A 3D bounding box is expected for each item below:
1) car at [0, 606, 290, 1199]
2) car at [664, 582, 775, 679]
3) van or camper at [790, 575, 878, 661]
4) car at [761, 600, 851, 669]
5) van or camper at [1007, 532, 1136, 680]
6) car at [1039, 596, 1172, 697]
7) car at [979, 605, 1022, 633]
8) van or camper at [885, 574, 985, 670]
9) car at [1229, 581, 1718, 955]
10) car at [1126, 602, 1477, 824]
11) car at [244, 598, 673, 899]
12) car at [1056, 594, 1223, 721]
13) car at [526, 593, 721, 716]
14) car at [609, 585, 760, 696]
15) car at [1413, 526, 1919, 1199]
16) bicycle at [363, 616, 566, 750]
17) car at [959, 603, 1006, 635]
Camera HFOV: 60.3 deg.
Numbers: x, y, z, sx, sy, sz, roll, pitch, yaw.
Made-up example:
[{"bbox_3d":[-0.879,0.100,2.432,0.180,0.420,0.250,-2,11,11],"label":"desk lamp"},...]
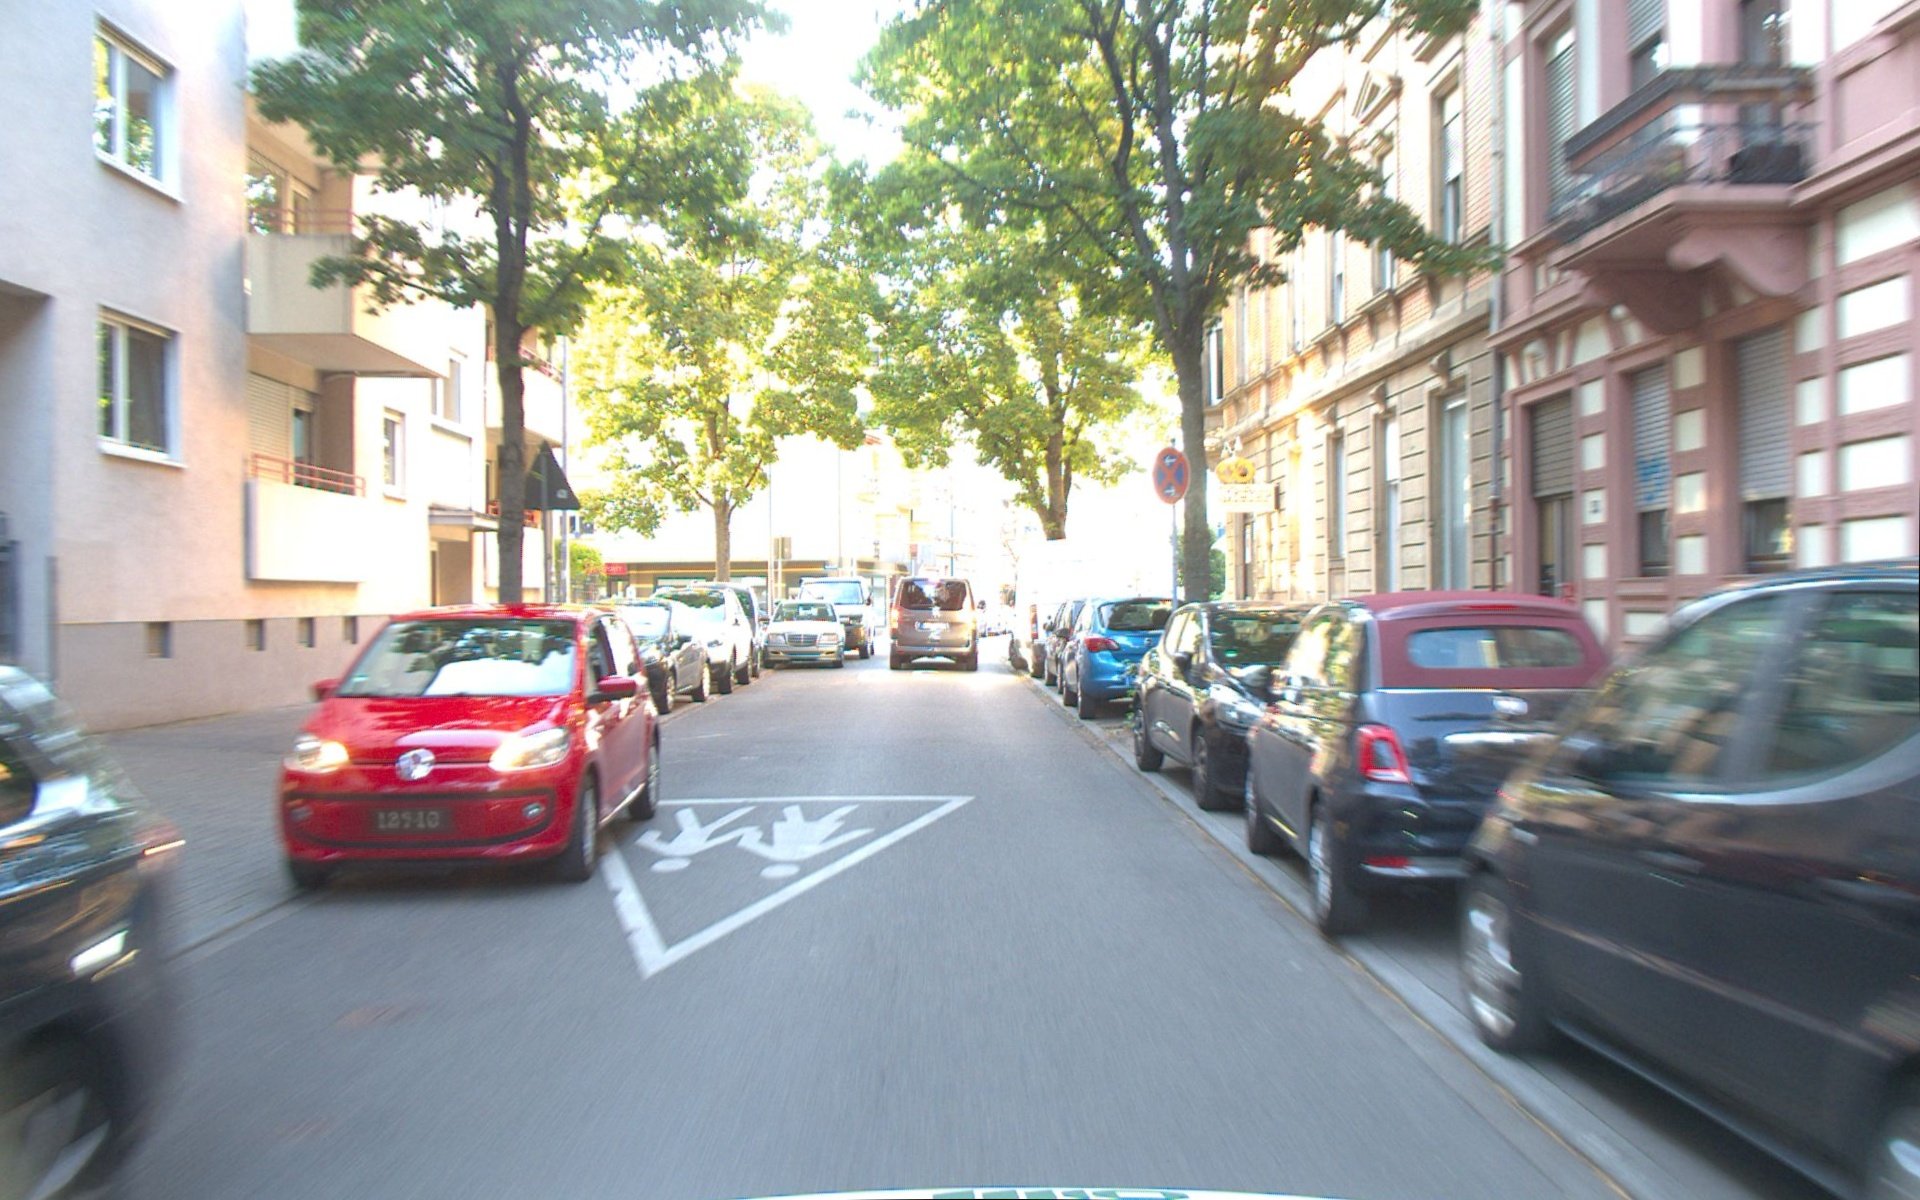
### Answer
[{"bbox_3d":[-2.534,0.750,1.805,1.809,1.477,4.501,1,0,-1],"label":"car"},{"bbox_3d":[-4.652,0.568,32.409,1.706,1.742,3.374,2,0,-1],"label":"car"},{"bbox_3d":[-3.090,0.418,41.276,1.824,2.018,4.271,-1,0,0],"label":"van or camper"},{"bbox_3d":[-3.319,0.722,36.167,1.706,1.429,3.374,-1,0,-1],"label":"car"},{"bbox_3d":[2.082,0.117,32.407,1.953,2.644,5.421,0,0,-2],"label":"van or camper"},{"bbox_3d":[2.271,0.701,26.683,1.715,1.497,3.774,0,0,-2],"label":"car"},{"bbox_3d":[2.232,1.021,89.807,1.757,1.445,3.751,0,0,10],"label":"car"},{"bbox_3d":[-0.478,0.443,35.397,1.993,1.931,4.271,0,0,1],"label":"van or camper"},{"bbox_3d":[2.408,0.693,8.619,1.519,1.523,3.611,0,0,2],"label":"car"},{"bbox_3d":[2.429,0.735,12.705,1.681,1.428,3.810,0,0,-4],"label":"car"},{"bbox_3d":[-2.773,0.733,9.918,1.597,1.455,3.541,-1,0,-2],"label":"car"},{"bbox_3d":[2.235,0.686,21.426,1.714,1.497,3.775,0,0,-1],"label":"car"},{"bbox_3d":[-4.516,0.688,22.751,1.703,1.510,3.840,2,0,2],"label":"car"},{"bbox_3d":[-4.499,0.623,27.587,1.859,1.665,4.155,2,0,-1],"label":"car"},{"bbox_3d":[2.601,0.636,4.407,1.579,1.586,3.764,-1,0,-3],"label":"car"},{"bbox_3d":[-4.795,0.781,16.107,0.595,1.216,1.817,2,0,43],"label":"bicycle"},{"bbox_3d":[1.160,0.939,84.166,1.757,1.606,3.751,0,0,10],"label":"car"}]
